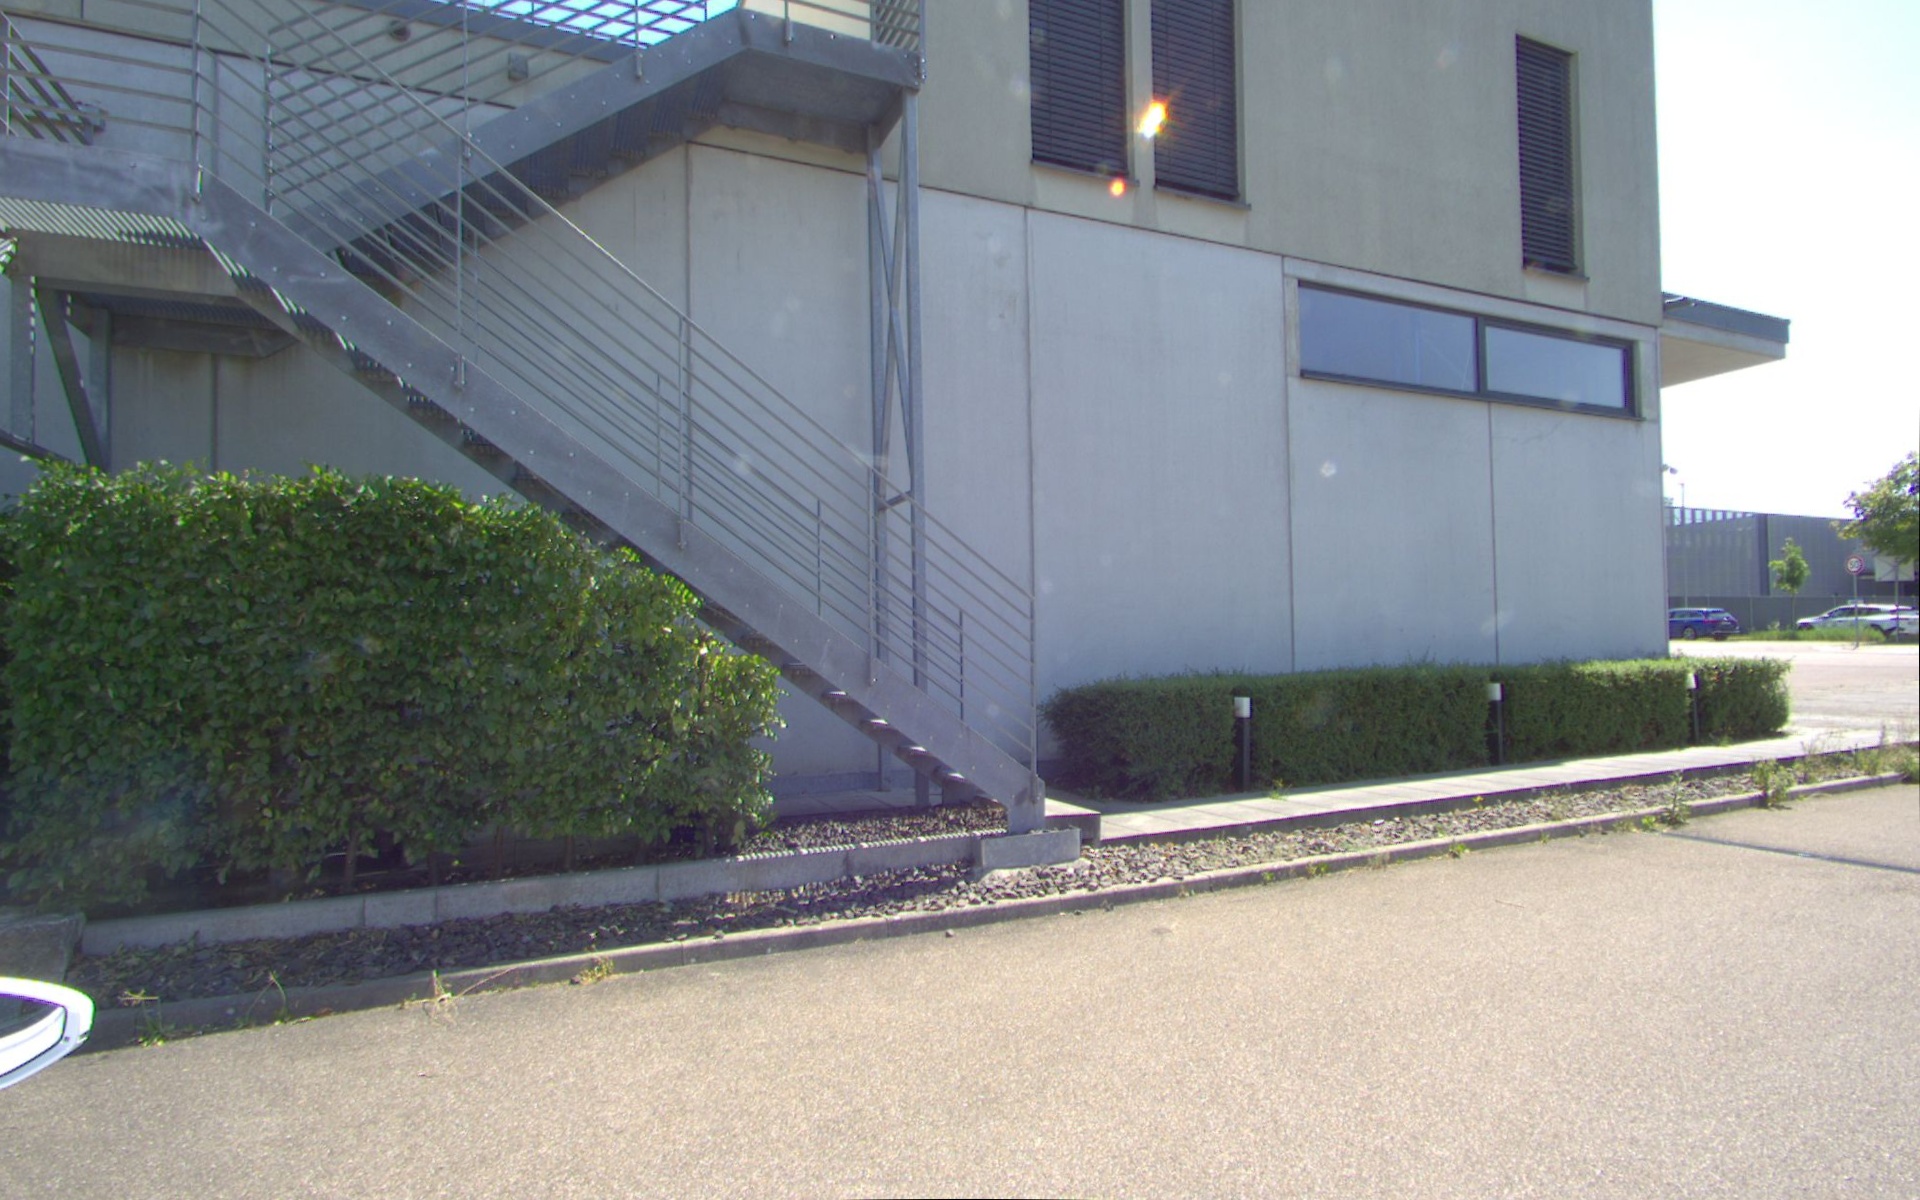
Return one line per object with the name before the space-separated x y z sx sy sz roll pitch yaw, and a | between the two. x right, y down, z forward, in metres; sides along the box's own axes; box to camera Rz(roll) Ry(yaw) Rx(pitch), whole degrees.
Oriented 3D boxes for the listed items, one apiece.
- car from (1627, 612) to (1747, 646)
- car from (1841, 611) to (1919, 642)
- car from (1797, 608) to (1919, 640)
car | 32.779 1.346 45.305 1.717 1.433 4.447 1 -2 -10
car | 44.894 1.278 47.818 1.717 1.433 4.065 1 -2 -11
car | 42.296 1.155 47.040 1.717 1.433 4.446 1 -2 -11
